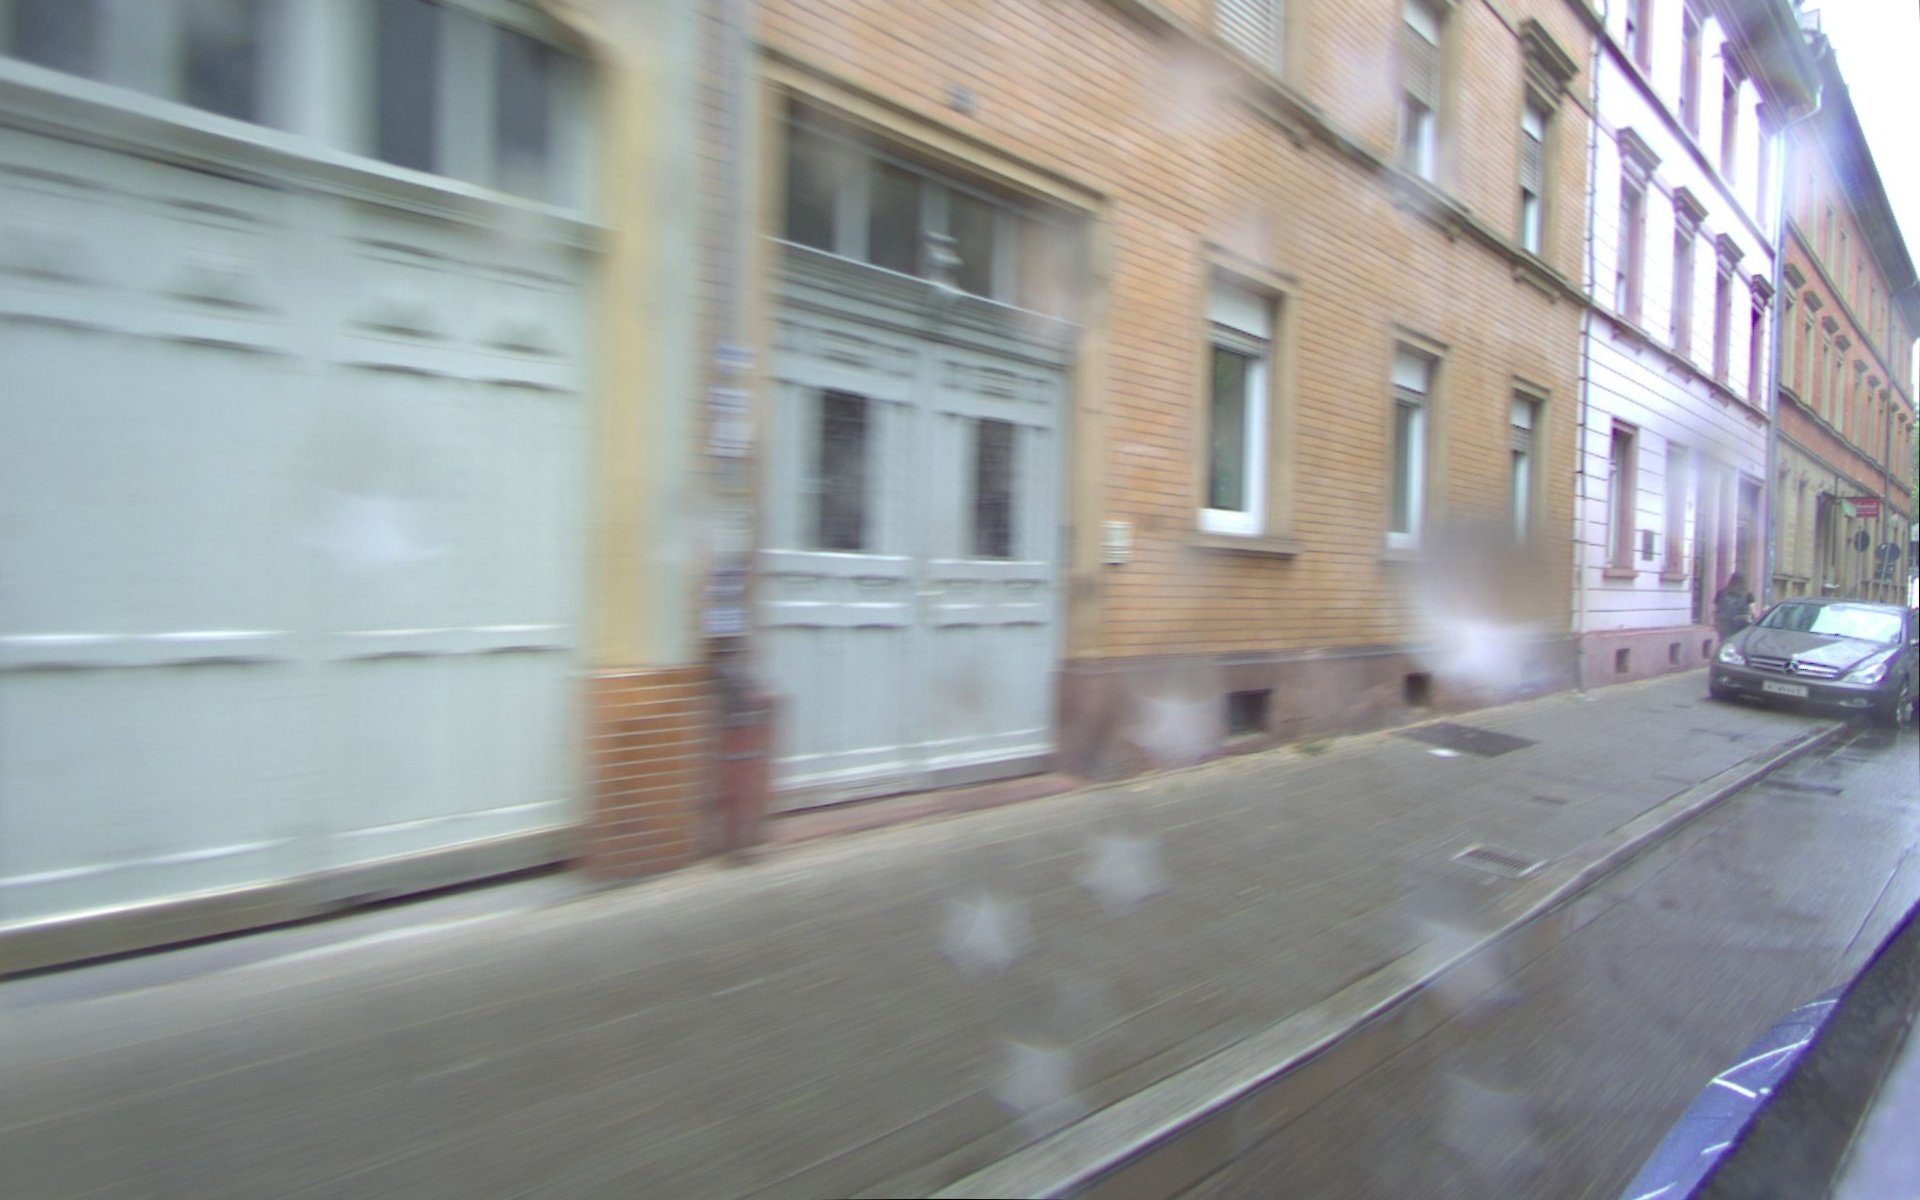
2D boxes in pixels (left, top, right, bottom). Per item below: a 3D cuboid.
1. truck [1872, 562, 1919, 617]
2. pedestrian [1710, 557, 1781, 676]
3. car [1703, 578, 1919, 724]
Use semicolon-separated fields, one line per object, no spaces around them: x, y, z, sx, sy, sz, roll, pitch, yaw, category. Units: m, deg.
60.018;-0.602;61.975;5.826;3.207;2.666;4;5;39;truck
11.783;0.231;15.188;0.593;1.705;0.640;0;4;-43;pedestrian
11.391;0.525;12.988;4.612;1.437;1.819;0;5;-39;car
